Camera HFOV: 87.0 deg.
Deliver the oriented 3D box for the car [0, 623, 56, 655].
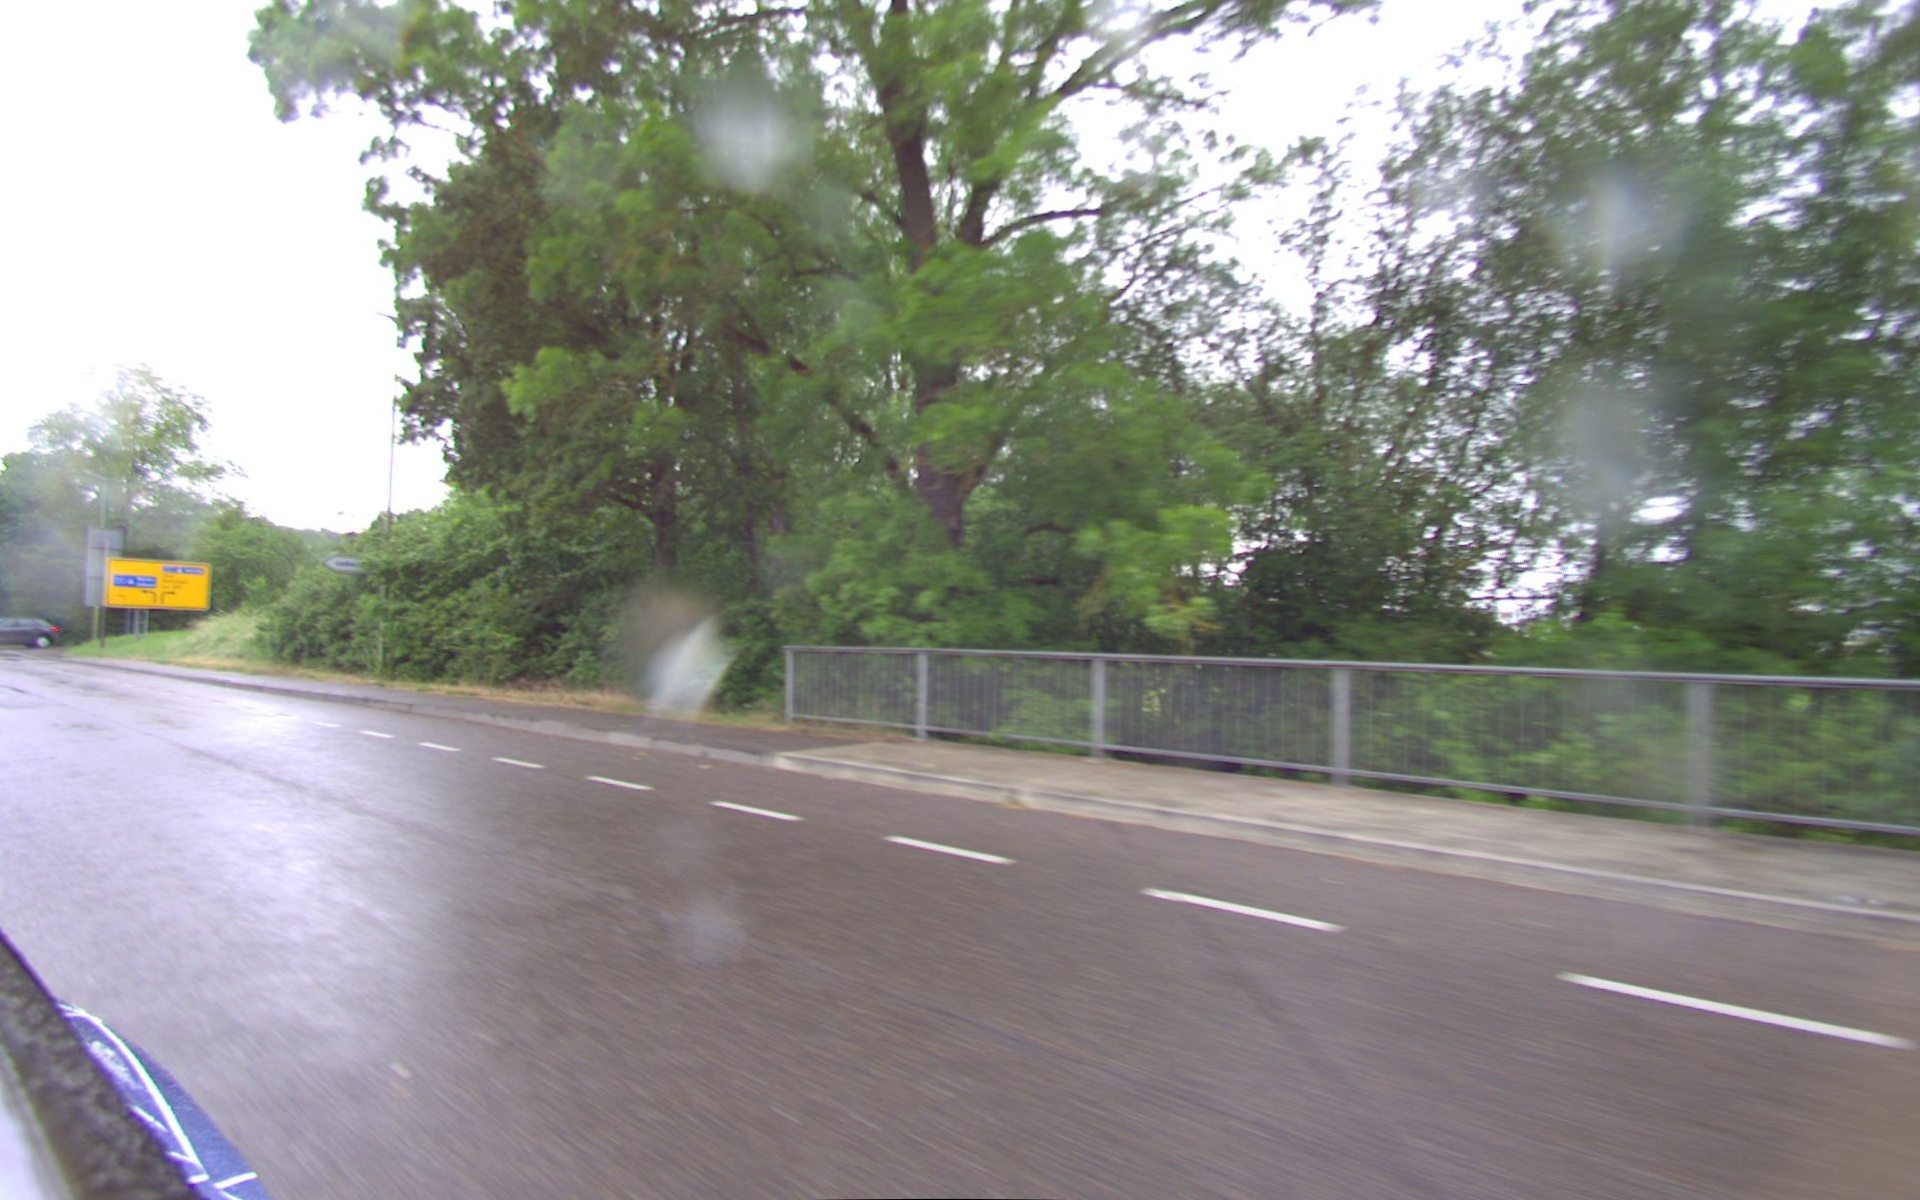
[{"bbox_3d":[-46.154,1.847,48.337,1.851,1.501,4.074,-1,-2,33],"label":"car"}]
